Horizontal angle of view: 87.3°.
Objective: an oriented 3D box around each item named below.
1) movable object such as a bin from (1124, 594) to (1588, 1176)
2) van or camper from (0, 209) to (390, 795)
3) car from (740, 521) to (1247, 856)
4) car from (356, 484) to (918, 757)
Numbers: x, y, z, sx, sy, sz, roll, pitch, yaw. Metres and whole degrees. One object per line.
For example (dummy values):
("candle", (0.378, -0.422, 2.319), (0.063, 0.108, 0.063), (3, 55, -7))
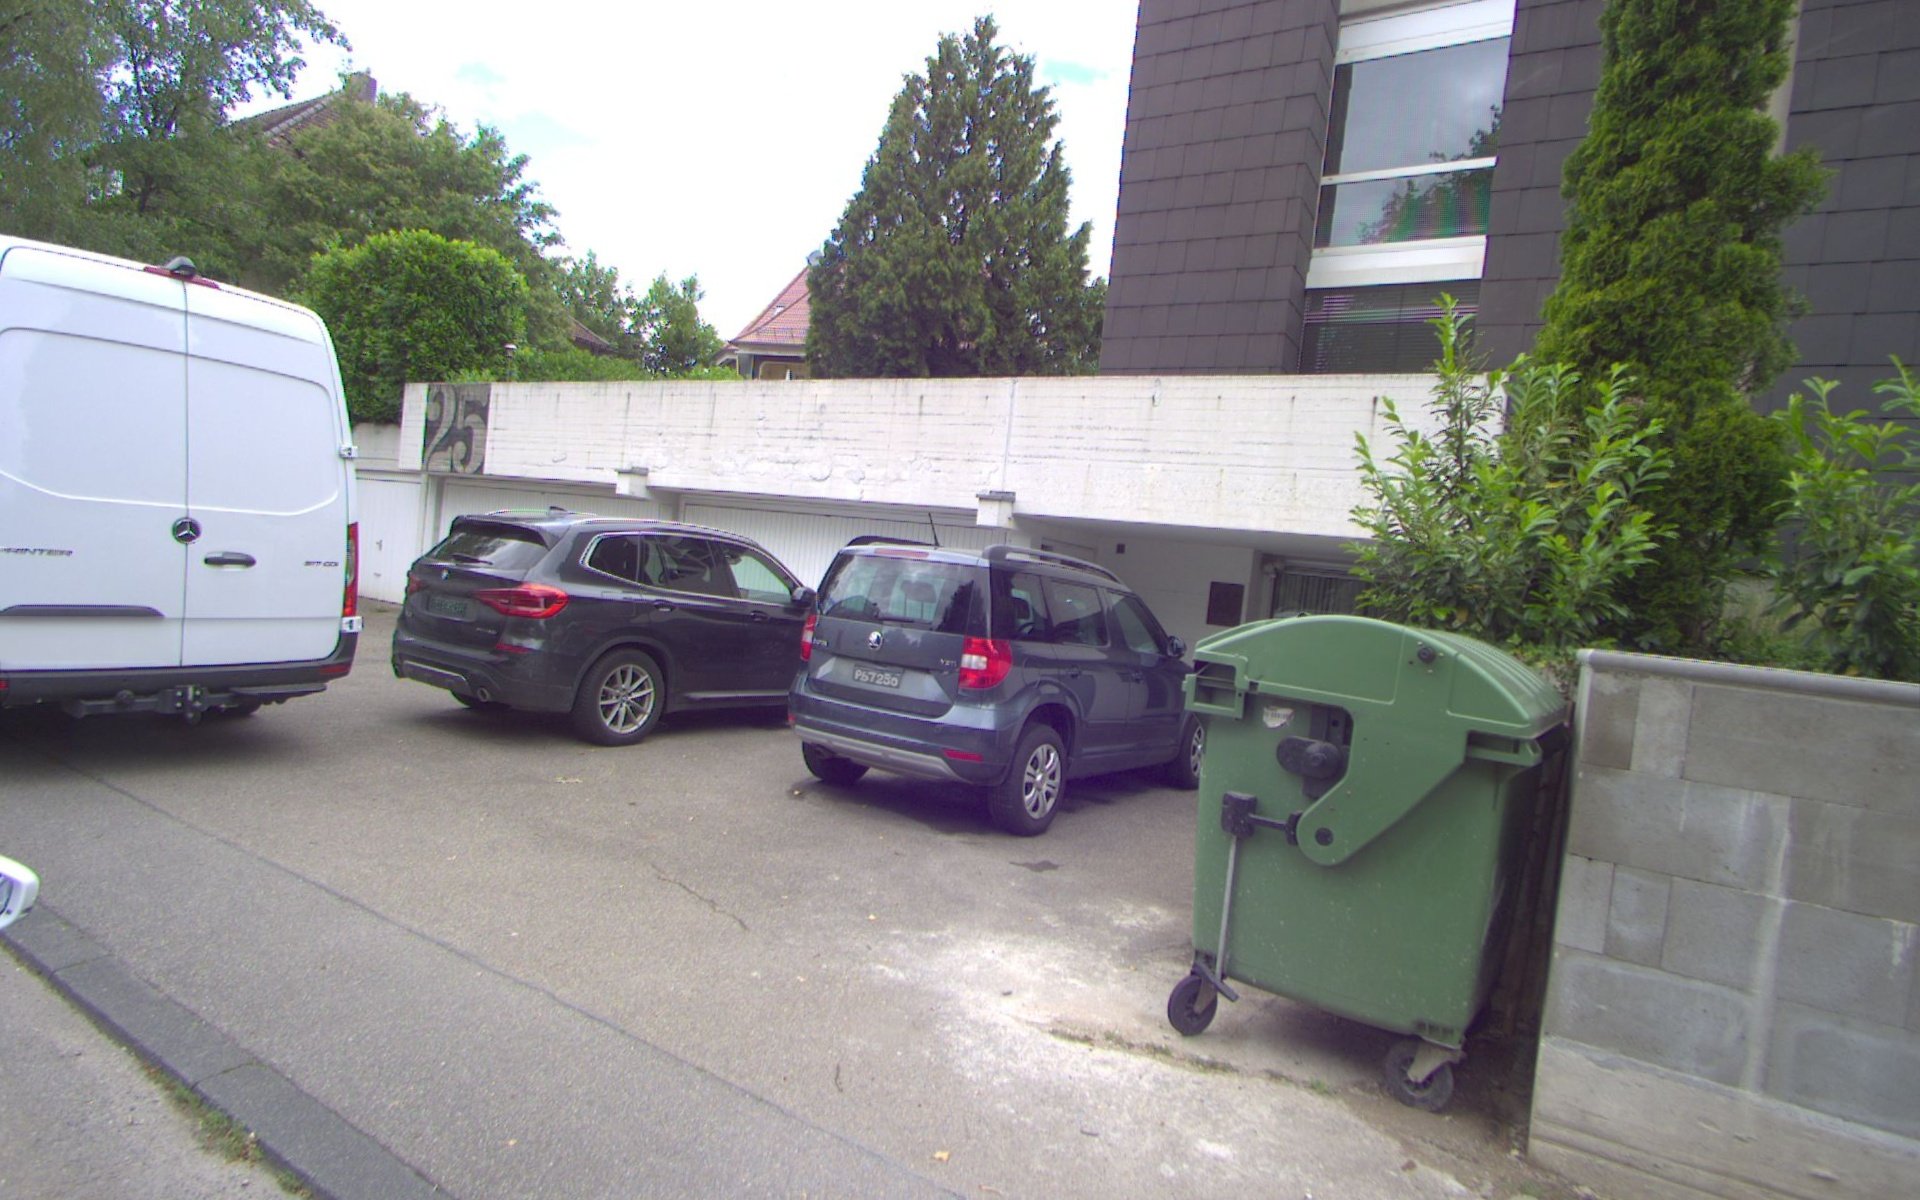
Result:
("movable object such as a bin", (1.432, 0.787, 3.541), (1.161, 1.470, 1.300), (7, 2, 31))
("van or camper", (-6.656, -0.722, 6.828), (6.252, 2.664, 1.963), (7, 4, 31))
("car", (0.497, 0.517, 7.368), (1.801, 1.674, 3.796), (7, 2, 35))
("car", (-2.425, 0.167, 8.698), (1.800, 1.674, 4.394), (7, 2, 33))
